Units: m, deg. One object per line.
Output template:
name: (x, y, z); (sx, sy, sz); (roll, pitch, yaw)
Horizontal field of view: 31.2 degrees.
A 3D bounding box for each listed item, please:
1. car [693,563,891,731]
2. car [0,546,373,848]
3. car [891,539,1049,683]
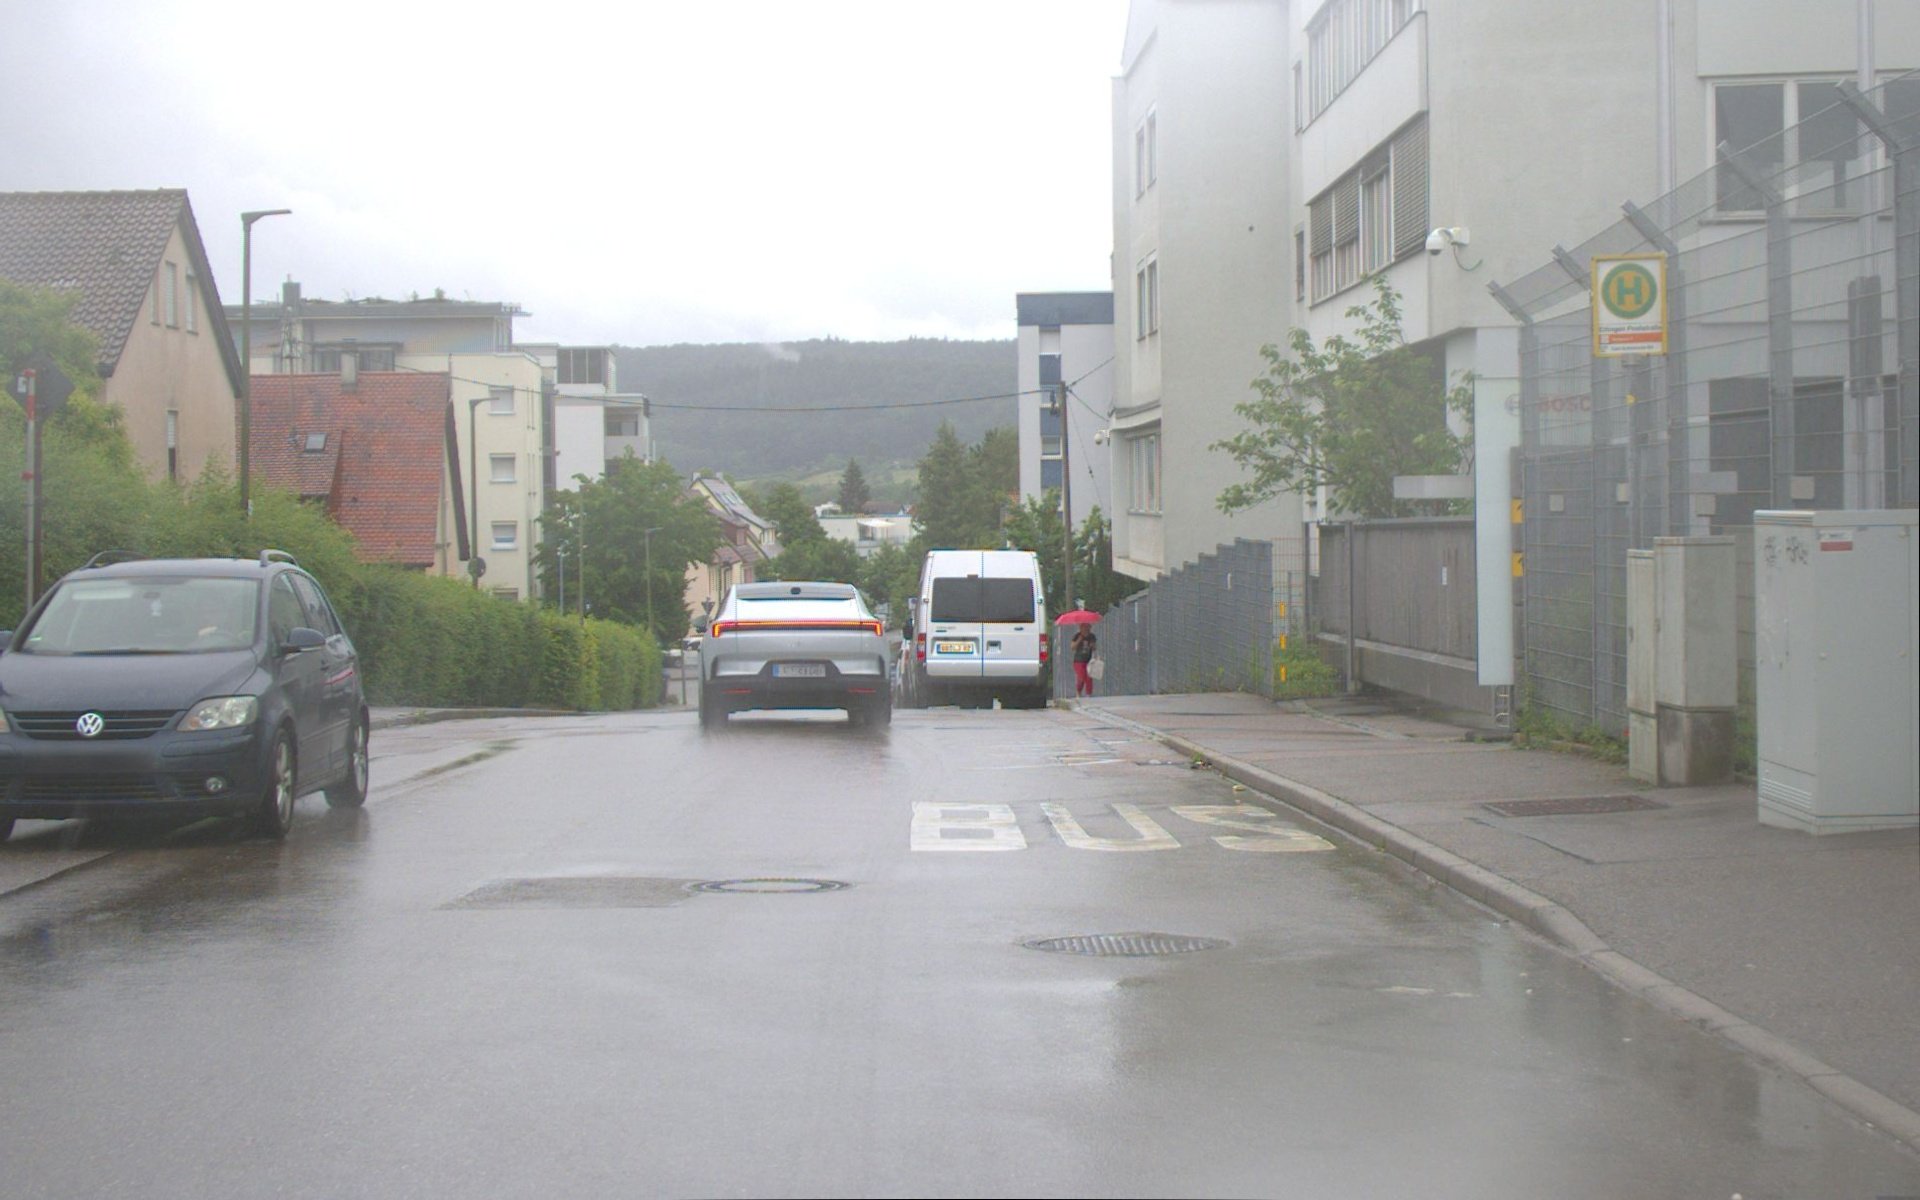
car: (-1.803, 0.448, 37.122); (1.993, 1.497, 4.671); (0, 3, -3)
car: (-4.484, 0.467, 19.672); (1.675, 1.522, 4.001); (-1, 1, -2)
car: (0.102, 0.178, 51.293); (1.993, 2.007, 4.000); (-2, -1, -4)
